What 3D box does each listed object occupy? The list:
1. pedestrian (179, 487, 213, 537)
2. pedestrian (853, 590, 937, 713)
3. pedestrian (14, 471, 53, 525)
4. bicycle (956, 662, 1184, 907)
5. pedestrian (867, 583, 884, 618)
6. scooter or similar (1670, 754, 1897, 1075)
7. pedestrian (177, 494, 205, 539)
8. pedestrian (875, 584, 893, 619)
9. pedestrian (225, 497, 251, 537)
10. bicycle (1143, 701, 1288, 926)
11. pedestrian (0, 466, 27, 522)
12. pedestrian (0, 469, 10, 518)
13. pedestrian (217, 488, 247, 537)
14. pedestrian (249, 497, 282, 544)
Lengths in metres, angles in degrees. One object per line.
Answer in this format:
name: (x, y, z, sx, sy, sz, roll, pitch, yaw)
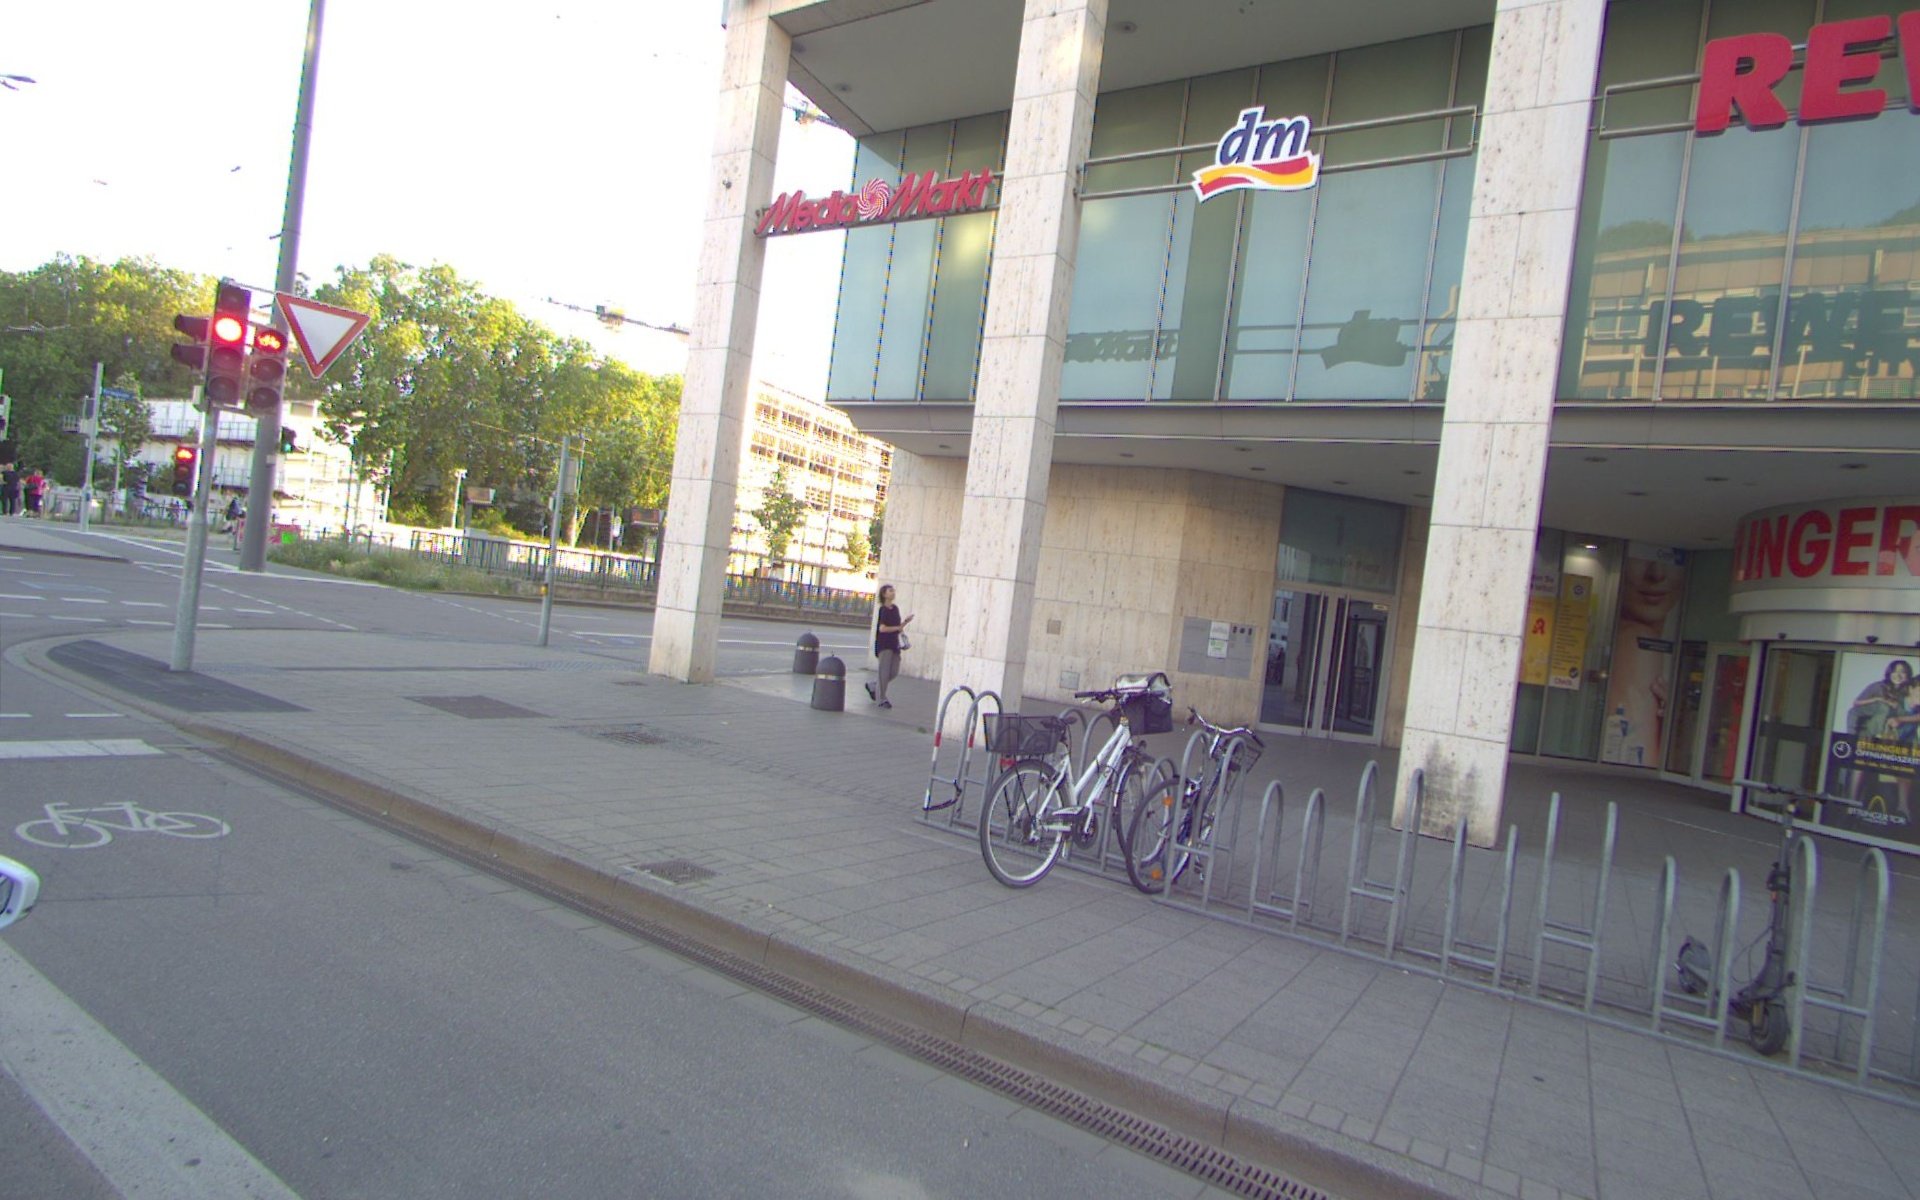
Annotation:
pedestrian: (-28.558, -3.291, 37.609, 0.701, 1.746, 0.667, 8, 1, 33)
pedestrian: (-0.934, 0.750, 14.517, 0.696, 1.659, 0.791, 8, 1, 32)
pedestrian: (-32.689, -3.605, 35.491, 0.696, 1.756, 0.843, 8, 1, 44)
bicycle: (0.695, 1.019, 5.925, 0.540, 1.198, 1.479, 8, 1, 36)
pedestrian: (-5.160, 0.031, 61.222, 0.559, 2.039, 0.575, 8, 1, 28)
scooter or similar: (3.982, 1.450, 4.955, 0.484, 1.214, 1.196, 8, 1, 27)
pedestrian: (-29.439, -3.204, 38.505, 0.527, 1.612, 0.571, 8, 1, 32)
pedestrian: (-4.619, 0.086, 60.915, 0.631, 2.039, 0.626, 8, 1, 28)
pedestrian: (-28.113, -3.221, 39.179, 0.672, 1.459, 0.707, 7, 1, -36)
bicycle: (1.669, 1.253, 6.372, 0.474, 1.092, 1.773, 8, 0, 24)
pedestrian: (-32.790, -3.651, 34.668, 0.803, 1.814, 0.790, 7, 1, -44)
pedestrian: (-33.987, -3.790, 35.458, 0.570, 1.699, 0.631, 7, 1, -44)
pedestrian: (-27.822, -3.347, 38.437, 0.708, 1.746, 0.660, 7, 1, -41)
pedestrian: (-28.052, -3.201, 40.642, 0.656, 1.746, 0.712, 8, 1, 25)
